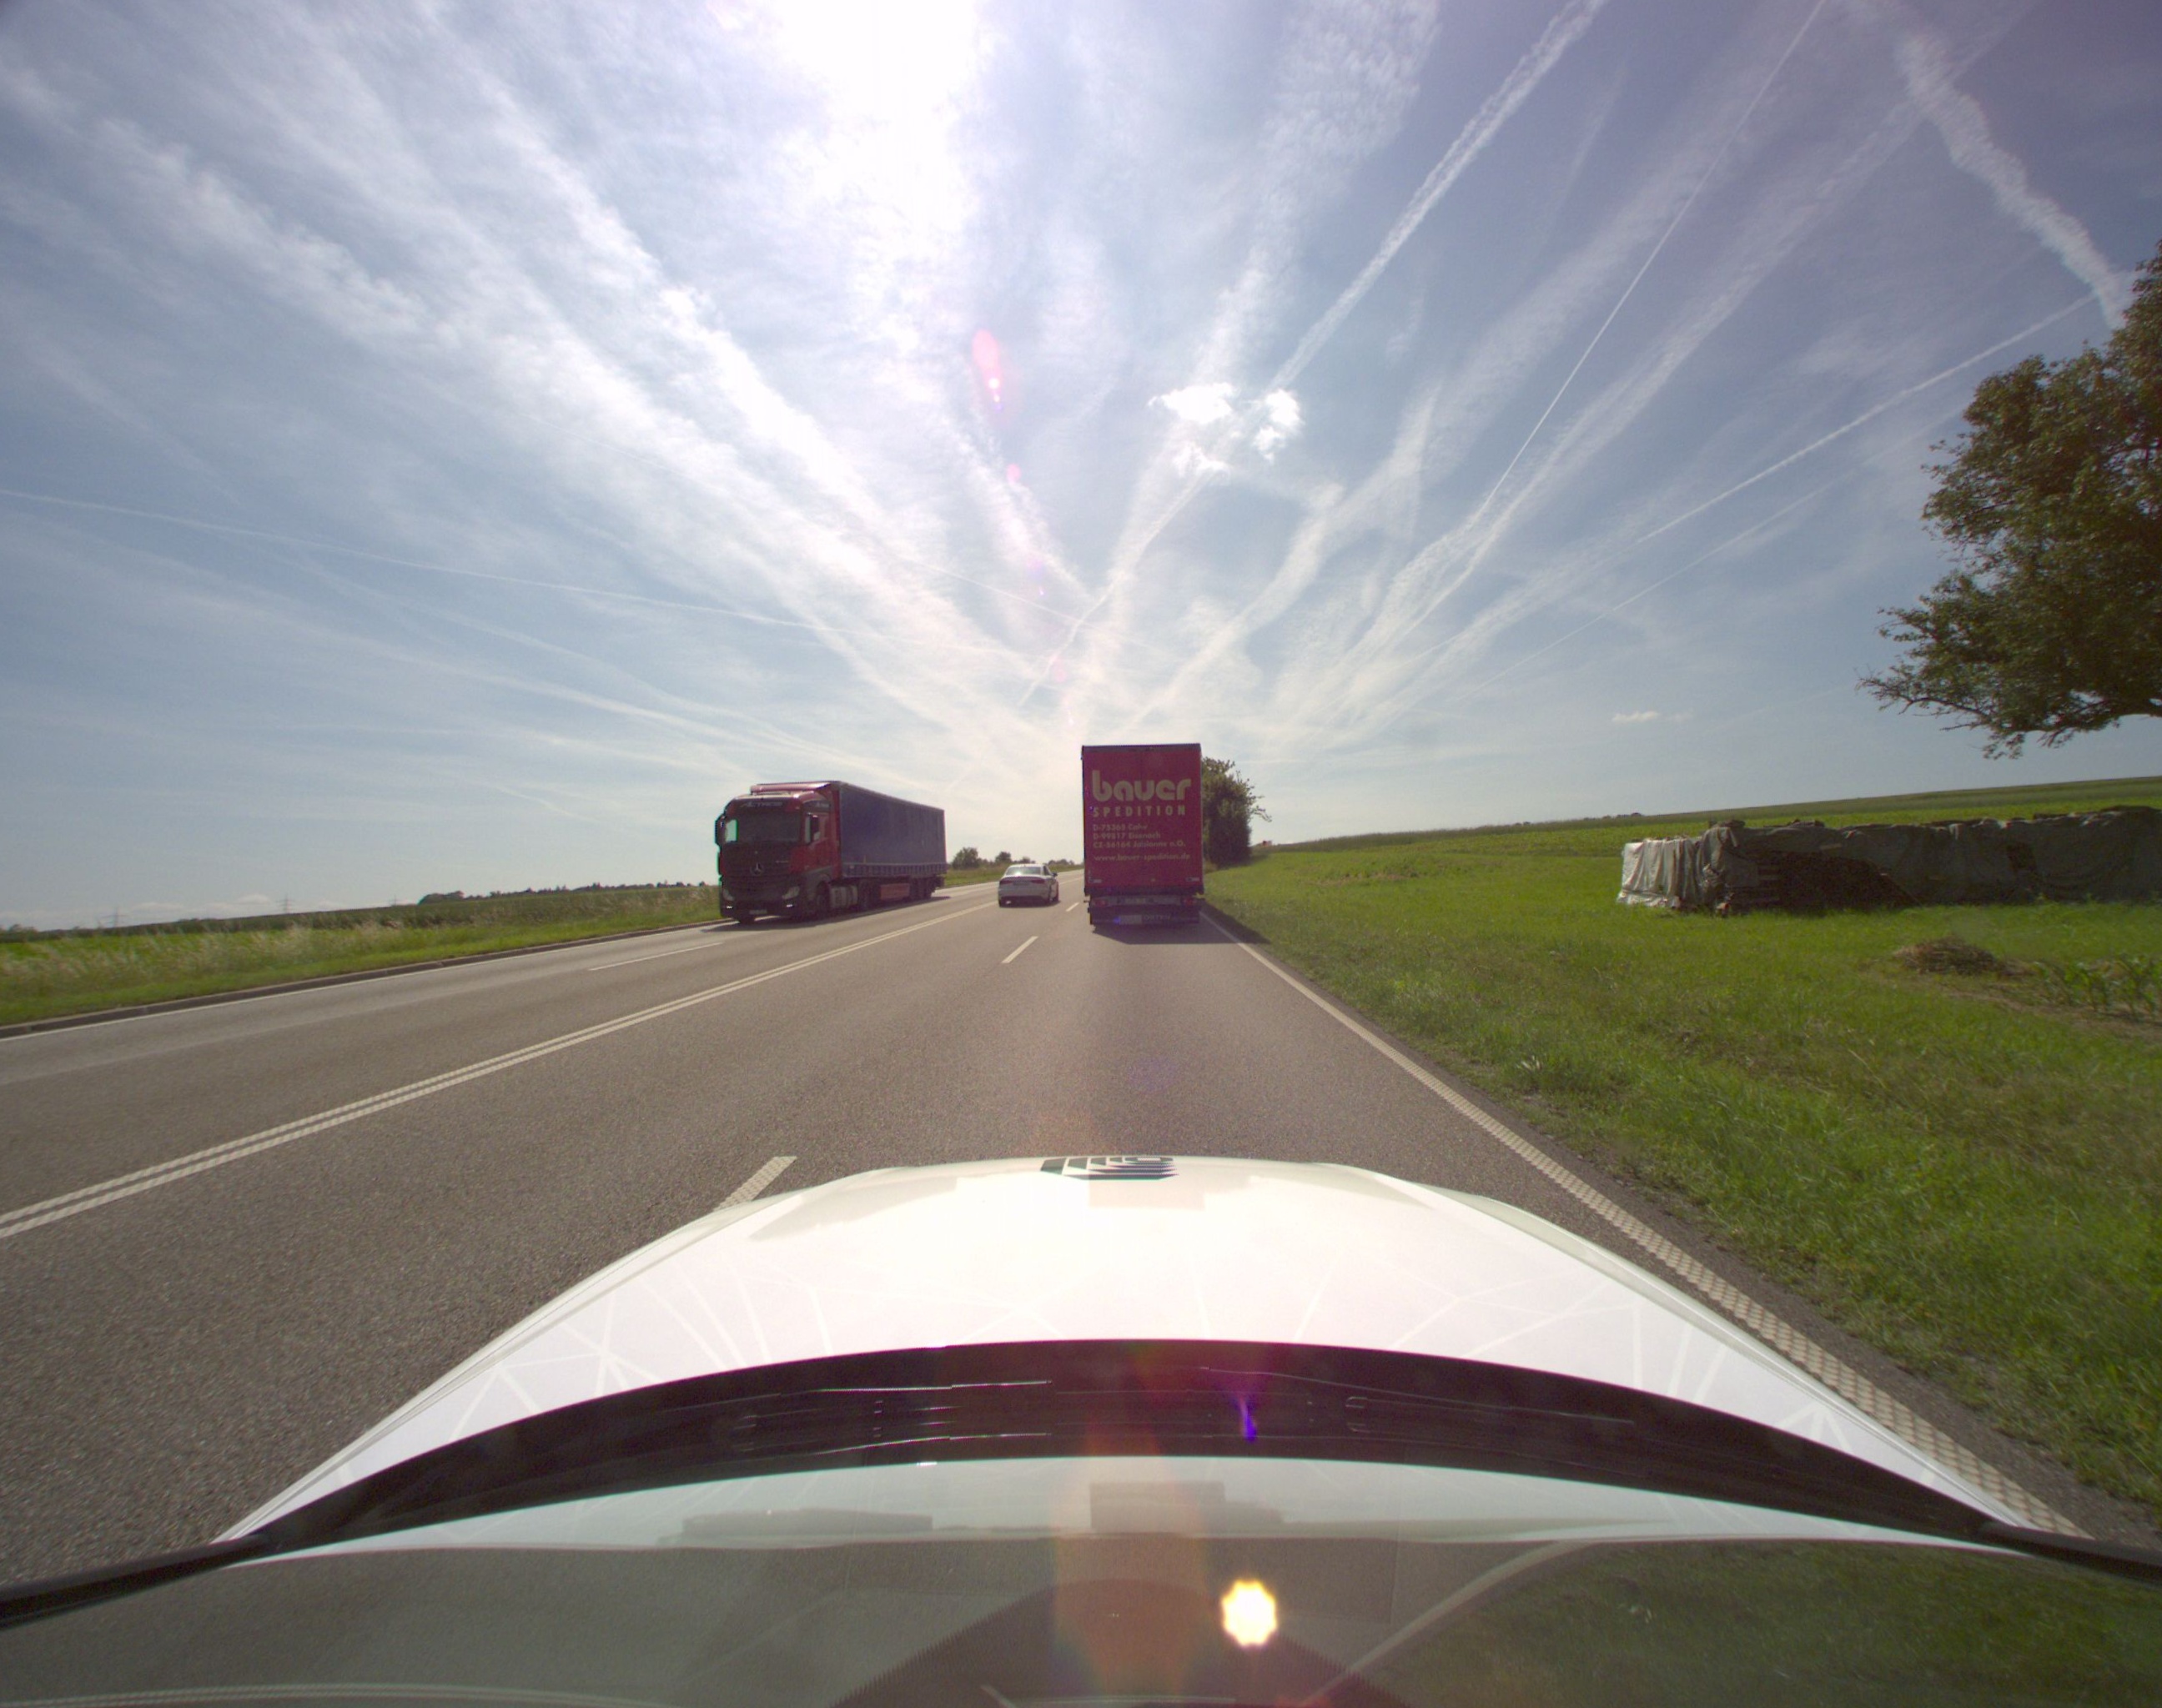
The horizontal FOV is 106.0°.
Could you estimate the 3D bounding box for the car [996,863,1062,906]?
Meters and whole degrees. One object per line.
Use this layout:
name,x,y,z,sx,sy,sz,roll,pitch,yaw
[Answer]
car,-1.759,1.028,28.782,1.695,1.376,4.608,-1,0,4

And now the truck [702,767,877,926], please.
truck,-8.478,-0.178,24.595,2.605,4.102,6.094,-2,-1,4

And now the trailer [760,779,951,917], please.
trailer,-7.948,-0.149,31.535,2.534,4.101,13.598,-2,0,4

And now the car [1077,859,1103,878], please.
car,0.763,1.168,66.248,1.812,1.472,4.795,0,0,5

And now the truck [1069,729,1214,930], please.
truck,1.575,-0.417,25.268,2.995,4.180,16.722,0,-1,2
